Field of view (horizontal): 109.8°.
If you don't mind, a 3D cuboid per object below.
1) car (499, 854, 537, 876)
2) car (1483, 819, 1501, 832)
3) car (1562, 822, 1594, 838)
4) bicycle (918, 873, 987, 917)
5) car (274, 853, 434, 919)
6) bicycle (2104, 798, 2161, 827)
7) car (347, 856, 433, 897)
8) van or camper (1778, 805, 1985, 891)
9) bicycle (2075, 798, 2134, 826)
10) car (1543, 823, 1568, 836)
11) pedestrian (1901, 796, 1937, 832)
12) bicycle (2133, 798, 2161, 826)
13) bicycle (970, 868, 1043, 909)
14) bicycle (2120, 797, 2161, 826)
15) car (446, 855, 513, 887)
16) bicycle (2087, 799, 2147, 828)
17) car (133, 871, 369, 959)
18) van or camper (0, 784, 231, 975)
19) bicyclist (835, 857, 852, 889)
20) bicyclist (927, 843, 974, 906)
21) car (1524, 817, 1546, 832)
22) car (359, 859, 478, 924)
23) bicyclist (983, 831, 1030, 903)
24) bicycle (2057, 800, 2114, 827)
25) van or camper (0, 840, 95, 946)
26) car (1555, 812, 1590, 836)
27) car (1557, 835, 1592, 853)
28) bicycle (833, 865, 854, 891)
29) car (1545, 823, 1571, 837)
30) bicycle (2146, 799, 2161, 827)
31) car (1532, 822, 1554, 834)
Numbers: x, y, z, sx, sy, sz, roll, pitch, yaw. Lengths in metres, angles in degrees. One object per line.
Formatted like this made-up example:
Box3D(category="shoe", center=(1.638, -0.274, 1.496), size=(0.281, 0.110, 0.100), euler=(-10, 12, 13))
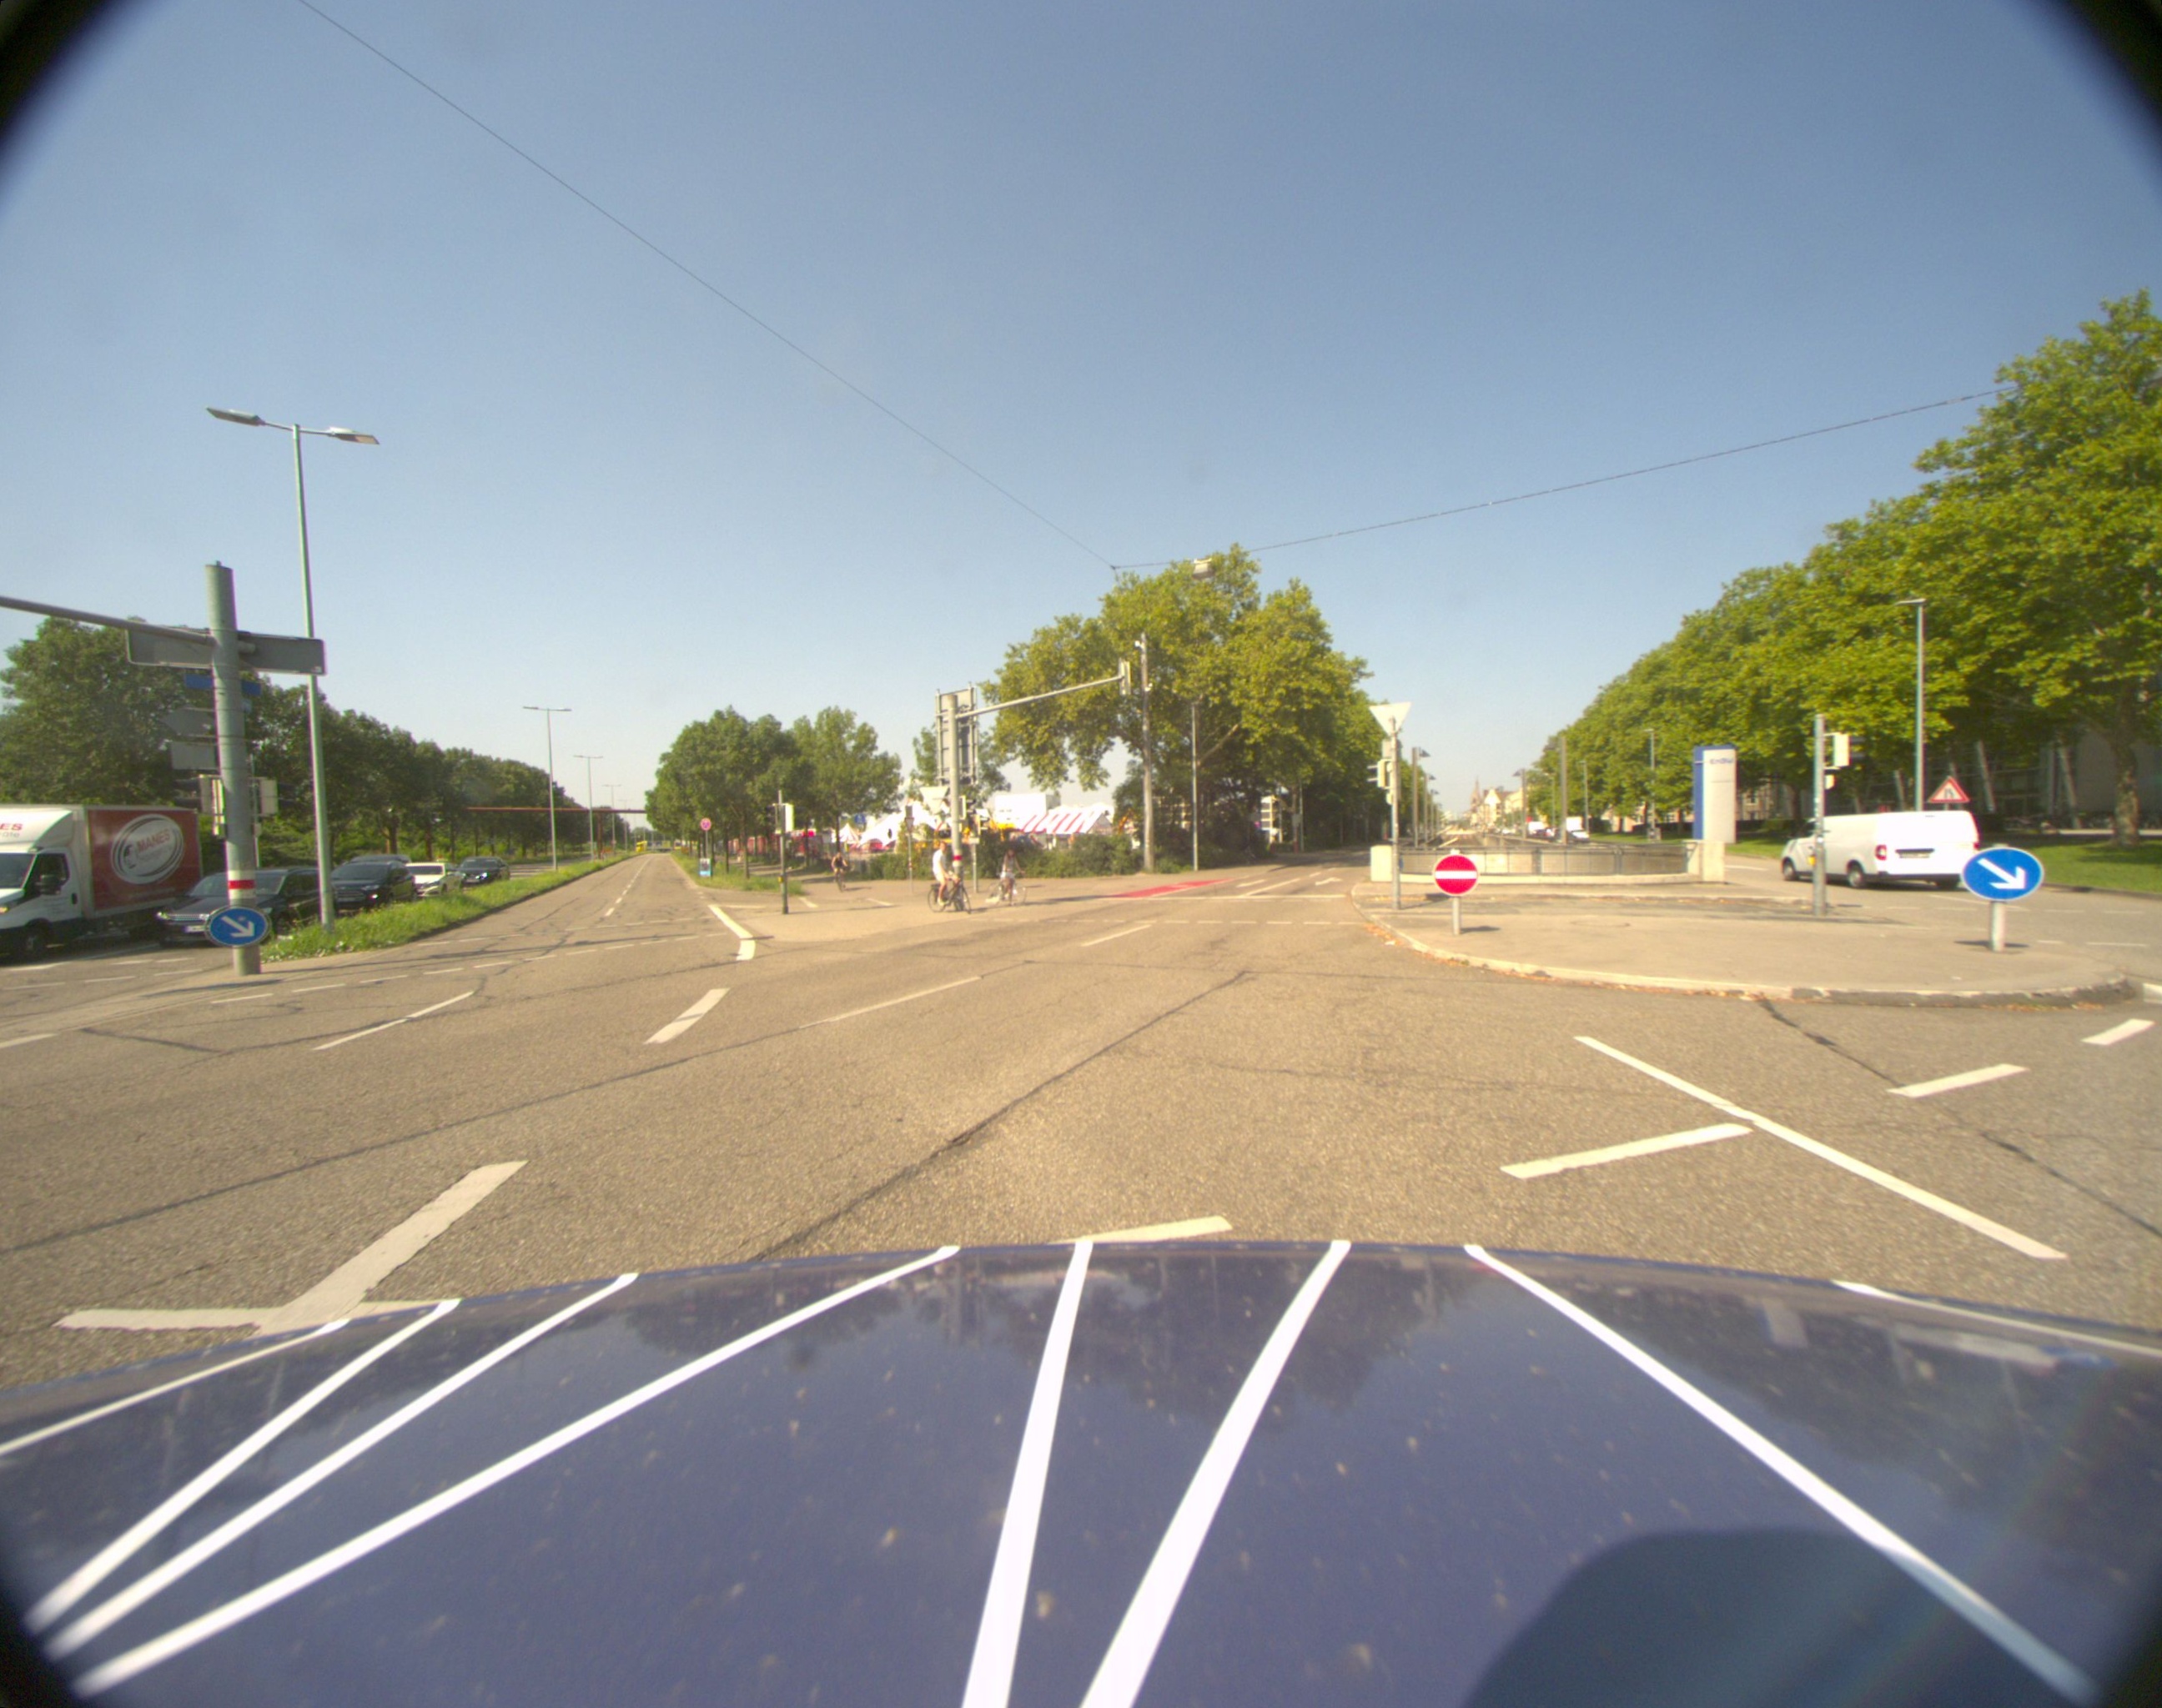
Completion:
Box3D(category="car", center=(-43.090, 0.870, 58.230), size=(1.804, 1.548, 3.991), euler=(-4, 1, -30))
Box3D(category="car", center=(69.541, -4.832, 128.618), size=(1.996, 2.002, 4.005), euler=(-4, 1, 21))
Box3D(category="car", center=(48.242, -2.352, 73.860), size=(1.995, 1.445, 4.005), euler=(-4, 1, 25))
Box3D(category="bicycle", center=(-3.464, 1.066, 20.330), size=(0.774, 1.081, 2.214), euler=(-3, 1, -40))
Box3D(category="car", center=(-22.924, 0.956, 24.272), size=(2.148, 1.730, 5.213), euler=(-4, 1, -27))
Box3D(category="bicycle", center=(62.316, -2.430, 44.956), size=(2.165, 1.546, 0.601), euler=(-4, 1, 19))
Box3D(category="car", center=(-31.158, 1.000, 34.401), size=(1.658, 1.655, 3.748), euler=(-4, 1, -24))
Box3D(category="van or camper", center=(20.510, -0.161, 19.809), size=(1.842, 1.936, 4.955), euler=(0, 1, 22))
Box3D(category="bicycle", center=(62.913, -2.587, 46.735), size=(2.165, 1.546, 0.601), euler=(-4, 1, 19))
Box3D(category="car", center=(57.743, -3.026, 92.584), size=(1.995, 1.445, 4.005), euler=(-4, 1, 25))
Box3D(category="pedestrian", center=(48.582, -2.311, 44.068), size=(0.947, 2.002, 1.351), euler=(-3, 1, 28))
Box3D(category="bicycle", center=(61.940, -2.453, 43.420), size=(2.165, 1.546, 0.601), euler=(-4, 1, 19))
Box3D(category="bicycle", center=(-2.186, 0.996, 22.134), size=(2.256, 1.081, 0.774), euler=(-2, 3, 44))
Box3D(category="bicycle", center=(62.071, -2.472, 44.060), size=(2.165, 1.546, 0.601), euler=(-4, 1, 19))
Box3D(category="car", center=(-29.219, 0.816, 37.018), size=(1.658, 1.390, 3.748), euler=(-4, 1, -25))
Box3D(category="bicycle", center=(62.696, -2.448, 46.016), size=(2.165, 1.546, 0.601), euler=(-4, 1, 19))
Box3D(category="car", center=(-19.092, 1.278, 17.866), size=(1.908, 1.604, 5.185), euler=(-4, 1, -27))
Box3D(category="van or camper", center=(-21.311, 0.580, 15.806), size=(2.252, 3.343, 6.837), euler=(-4, 1, -27))
Box3D(category="bicyclist", center=(-10.431, 0.825, 33.348), size=(0.503, 1.357, 0.696), euler=(-4, 1, -6))
Box3D(category="bicyclist", center=(-3.485, 0.545, 20.269), size=(0.599, 1.585, 1.202), euler=(-5, 1, -40))
Box3D(category="car", center=(67.411, -4.343, 112.826), size=(2.287, 2.068, 4.662), euler=(-4, 1, 25))
Box3D(category="car", center=(-26.682, 1.453, 30.845), size=(2.252, 2.248, 5.213), euler=(-4, 1, -27))
Box3D(category="bicyclist", center=(-2.158, 0.383, 22.049), size=(1.201, 2.002, 0.599), euler=(-2, 2, 45))
Box3D(category="bicycle", center=(63.327, -2.546, 47.907), size=(2.165, 1.546, 0.601), euler=(-4, 1, 19))
Box3D(category="van or camper", center=(-25.925, 0.968, 16.845), size=(2.252, 2.468, 6.851), euler=(-4, 1, -29))
Box3D(category="car", center=(50.592, -3.129, 78.359), size=(2.287, 2.220, 4.662), euler=(-3, 1, 25))
Box3D(category="car", center=(39.908, -0.829, 61.491), size=(1.658, 1.214, 3.899), euler=(-4, 1, 23))
Box3D(category="bicycle", center=(-10.416, 1.036, 33.381), size=(0.573, 1.050, 1.493), euler=(-3, 1, -7))
Box3D(category="car", center=(55.031, -2.740, 87.714), size=(1.995, 1.445, 4.005), euler=(-4, 1, 25))
Box3D(category="bicycle", center=(61.683, -2.375, 42.683), size=(2.165, 1.546, 0.601), euler=(-4, 1, 19))
Box3D(category="car", center=(62.159, -3.540, 102.328), size=(1.995, 1.445, 4.005), euler=(-4, 1, 25))
